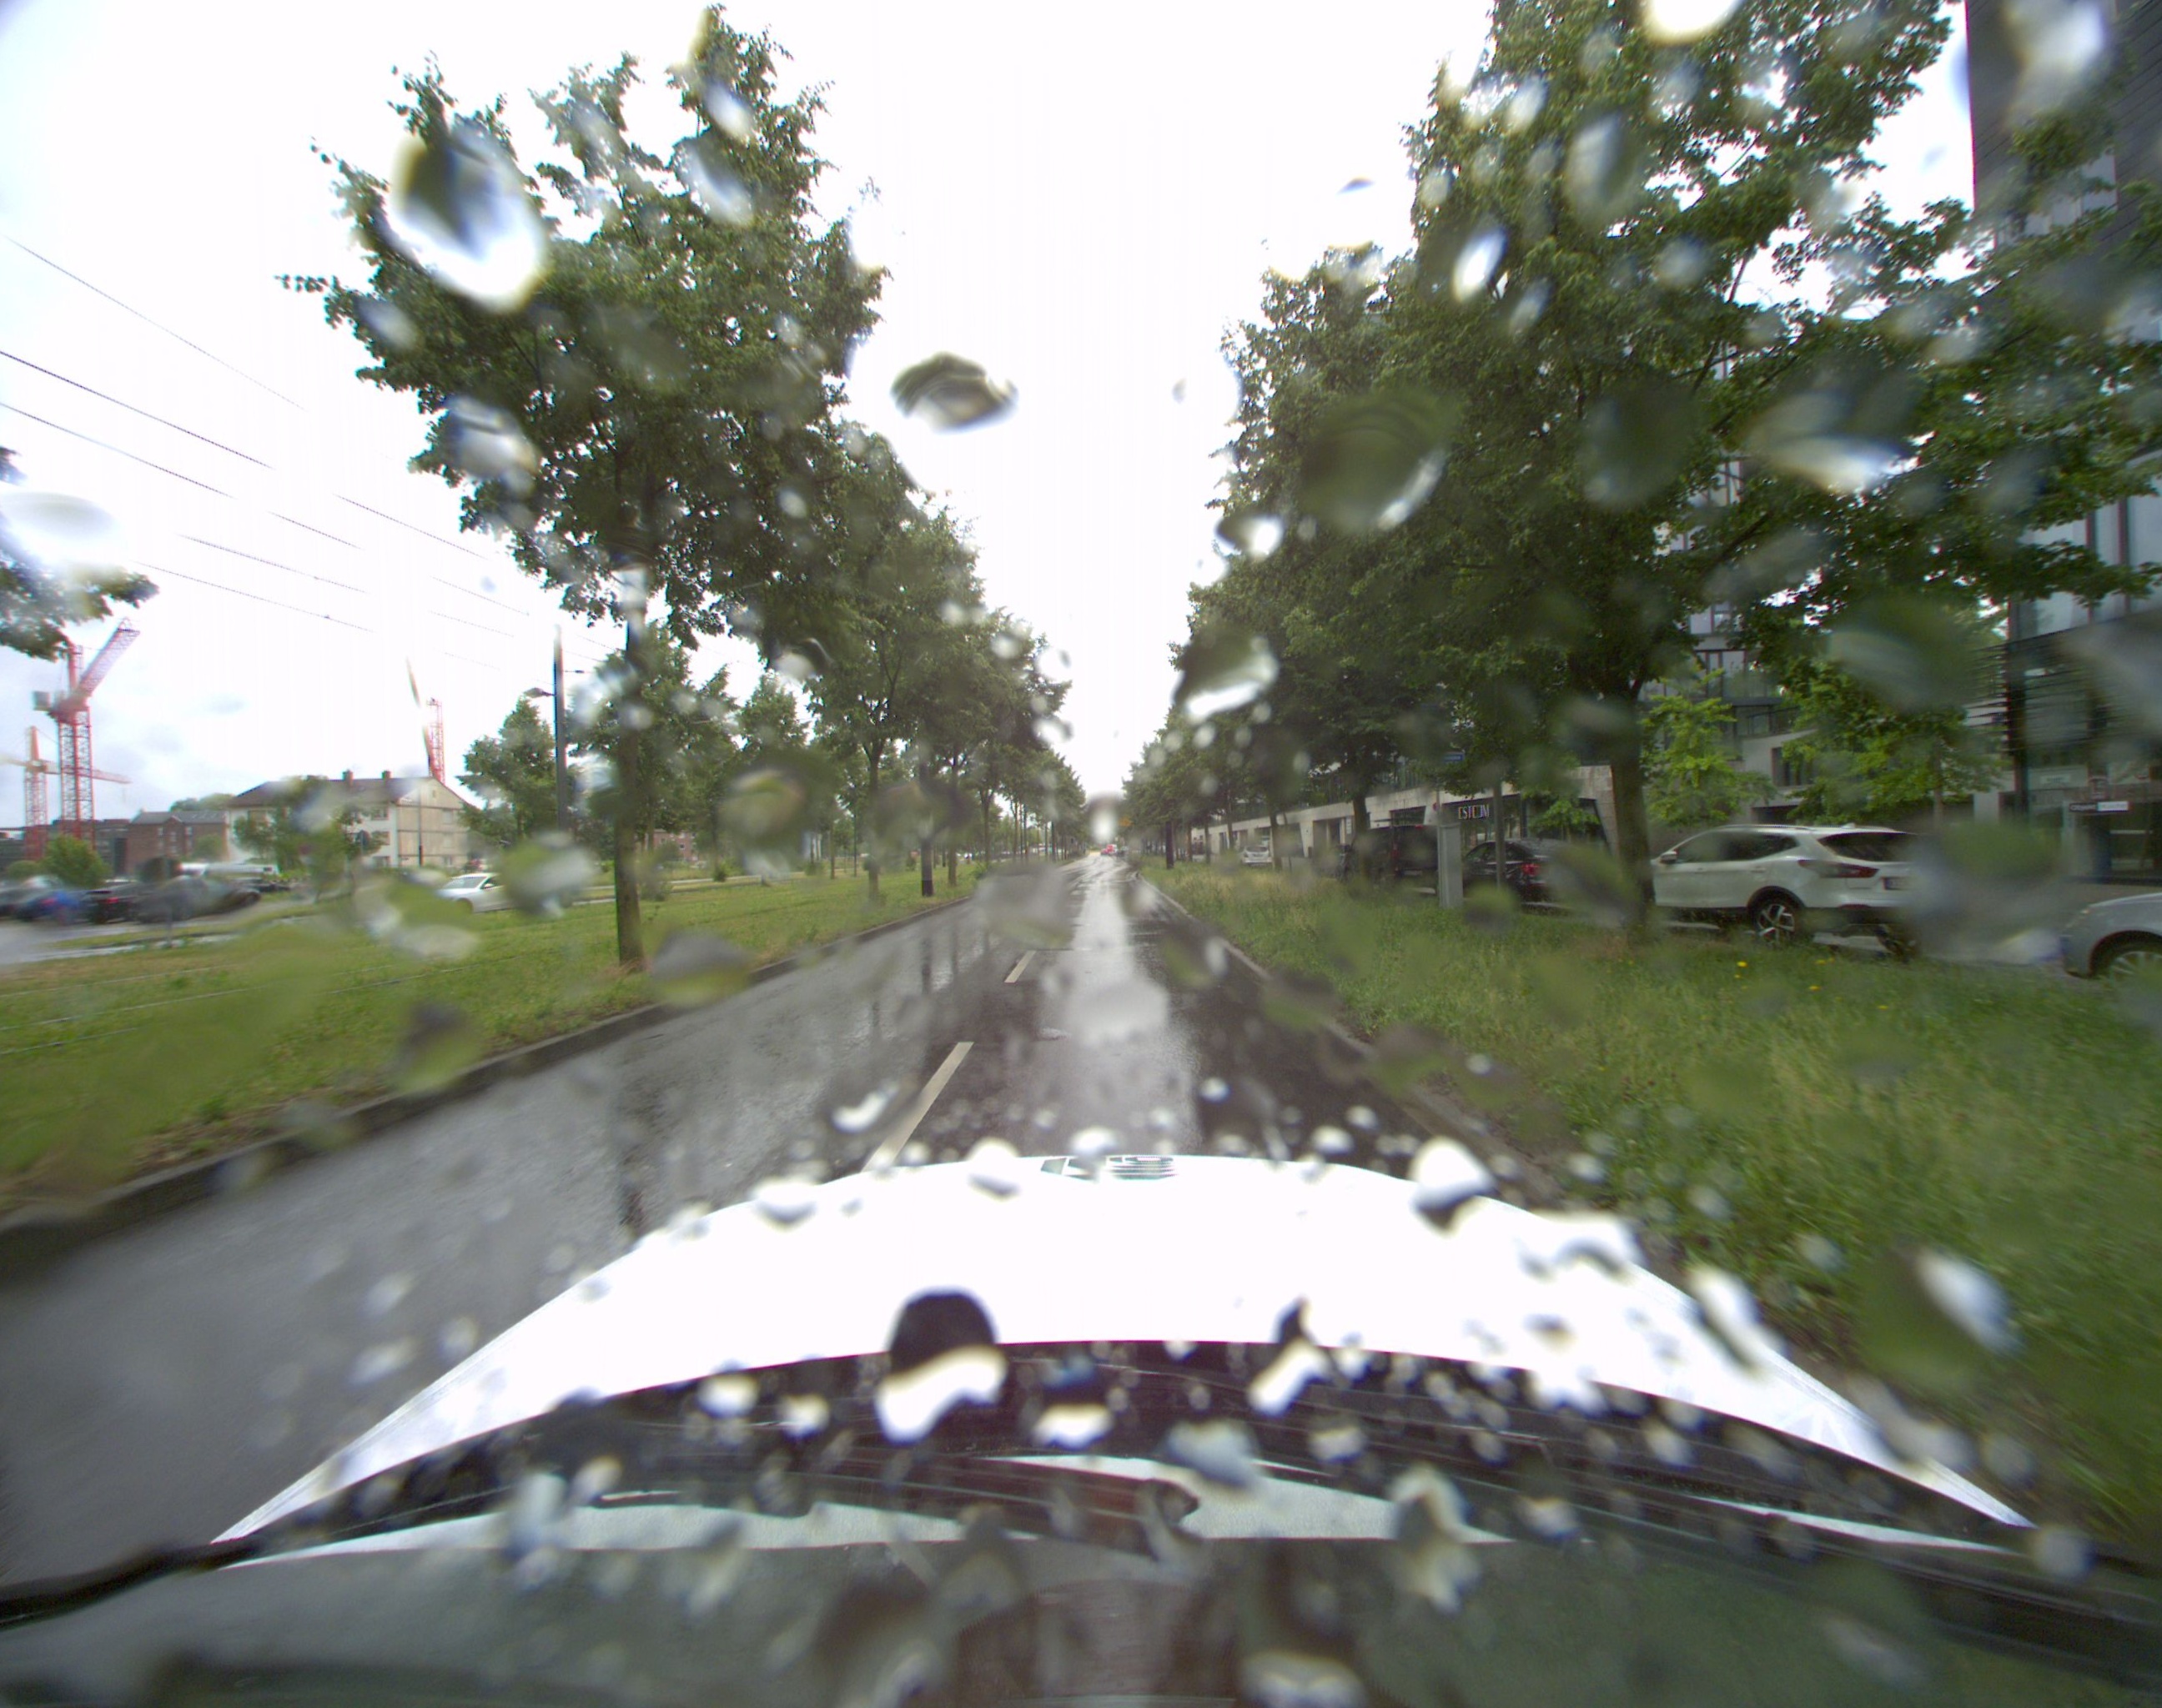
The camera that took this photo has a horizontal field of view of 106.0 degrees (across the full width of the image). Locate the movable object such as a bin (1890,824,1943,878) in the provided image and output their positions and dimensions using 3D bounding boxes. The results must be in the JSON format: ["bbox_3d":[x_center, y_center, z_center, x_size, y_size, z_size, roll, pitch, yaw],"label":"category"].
[{"bbox_3d":[20.180,-0.081,19.683,0.606,1.276,0.647,-2,2,-3],"label":"movable object such as a bin"}]

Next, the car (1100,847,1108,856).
[{"bbox_3d":[5.716,-0.637,201.795,1.985,2.013,4.005,-2,3,4],"label":"car"}]

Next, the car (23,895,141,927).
[{"bbox_3d":[-45.437,2.555,37.131,1.180,1.067,3.225,-2,3,5],"label":"car"}]

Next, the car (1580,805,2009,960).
[{"bbox_3d":[9.477,0.288,11.526,1.986,1.669,4.725,-2,1,1],"label":"car"}]

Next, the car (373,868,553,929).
[{"bbox_3d":[-20.321,1.402,27.123,1.941,1.460,4.839,-2,3,5],"label":"car"}]

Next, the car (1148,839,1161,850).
[{"bbox_3d":[12.942,-1.678,143.914,1.899,1.791,4.690,-2,0,1],"label":"car"}]

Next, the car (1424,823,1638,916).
[{"bbox_3d":[9.400,0.226,17.605,1.986,1.669,4.961,-2,1,2],"label":"car"}]

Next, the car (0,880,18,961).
[{"bbox_3d":[-24.533,1.498,15.670,1.942,1.749,4.582,-2,0,4],"label":"car"}]

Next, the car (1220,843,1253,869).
[{"bbox_3d":[10.361,0.086,54.408,1.619,1.490,3.658,-2,3,2],"label":"car"}]

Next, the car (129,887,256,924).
[{"bbox_3d":[-40.151,2.306,36.914,1.494,1.239,3.665,-2,3,5],"label":"car"}]

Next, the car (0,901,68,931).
[{"bbox_3d":[-48.681,2.852,37.035,1.284,1.072,3.021,-2,3,5],"label":"car"}]

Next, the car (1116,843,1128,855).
[{"bbox_3d":[7.530,-0.921,149.855,1.933,2.013,4.003,-2,3,2],"label":"car"}]

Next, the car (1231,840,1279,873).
[{"bbox_3d":[10.366,0.117,48.954,1.986,1.668,4.727,-2,3,2],"label":"car"}]

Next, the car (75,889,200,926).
[{"bbox_3d":[-42.847,2.391,37.095,1.371,1.239,3.490,-2,3,5],"label":"car"}]

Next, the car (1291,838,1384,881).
[{"bbox_3d":[10.022,0.208,32.221,1.953,1.512,4.475,-2,0,-5],"label":"car"}]

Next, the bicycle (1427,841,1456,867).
[{"bbox_3d":[16.624,-0.020,37.567,0.516,1.130,2.067,-2,0,4],"label":"bicycle"}]

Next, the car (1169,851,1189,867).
[{"bbox_3d":[11.467,0.541,95.096,1.874,1.505,4.727,-2,3,2],"label":"car"}]

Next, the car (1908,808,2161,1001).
[{"bbox_3d":[9.016,0.397,5.636,1.764,1.452,4.721,1,0,-1],"label":"car"}]

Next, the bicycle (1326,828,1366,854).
[{"bbox_3d":[19.658,-0.963,60.362,2.666,1.860,0.708,-2,0,6],"label":"bicycle"}]

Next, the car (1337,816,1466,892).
[{"bbox_3d":[9.406,-0.117,24.406,1.986,1.952,5.032,-2,3,2],"label":"car"}]

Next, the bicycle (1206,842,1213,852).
[{"bbox_3d":[22.701,-1.269,144.038,0.769,1.722,3.122,-2,3,1],"label":"bicycle"}]
